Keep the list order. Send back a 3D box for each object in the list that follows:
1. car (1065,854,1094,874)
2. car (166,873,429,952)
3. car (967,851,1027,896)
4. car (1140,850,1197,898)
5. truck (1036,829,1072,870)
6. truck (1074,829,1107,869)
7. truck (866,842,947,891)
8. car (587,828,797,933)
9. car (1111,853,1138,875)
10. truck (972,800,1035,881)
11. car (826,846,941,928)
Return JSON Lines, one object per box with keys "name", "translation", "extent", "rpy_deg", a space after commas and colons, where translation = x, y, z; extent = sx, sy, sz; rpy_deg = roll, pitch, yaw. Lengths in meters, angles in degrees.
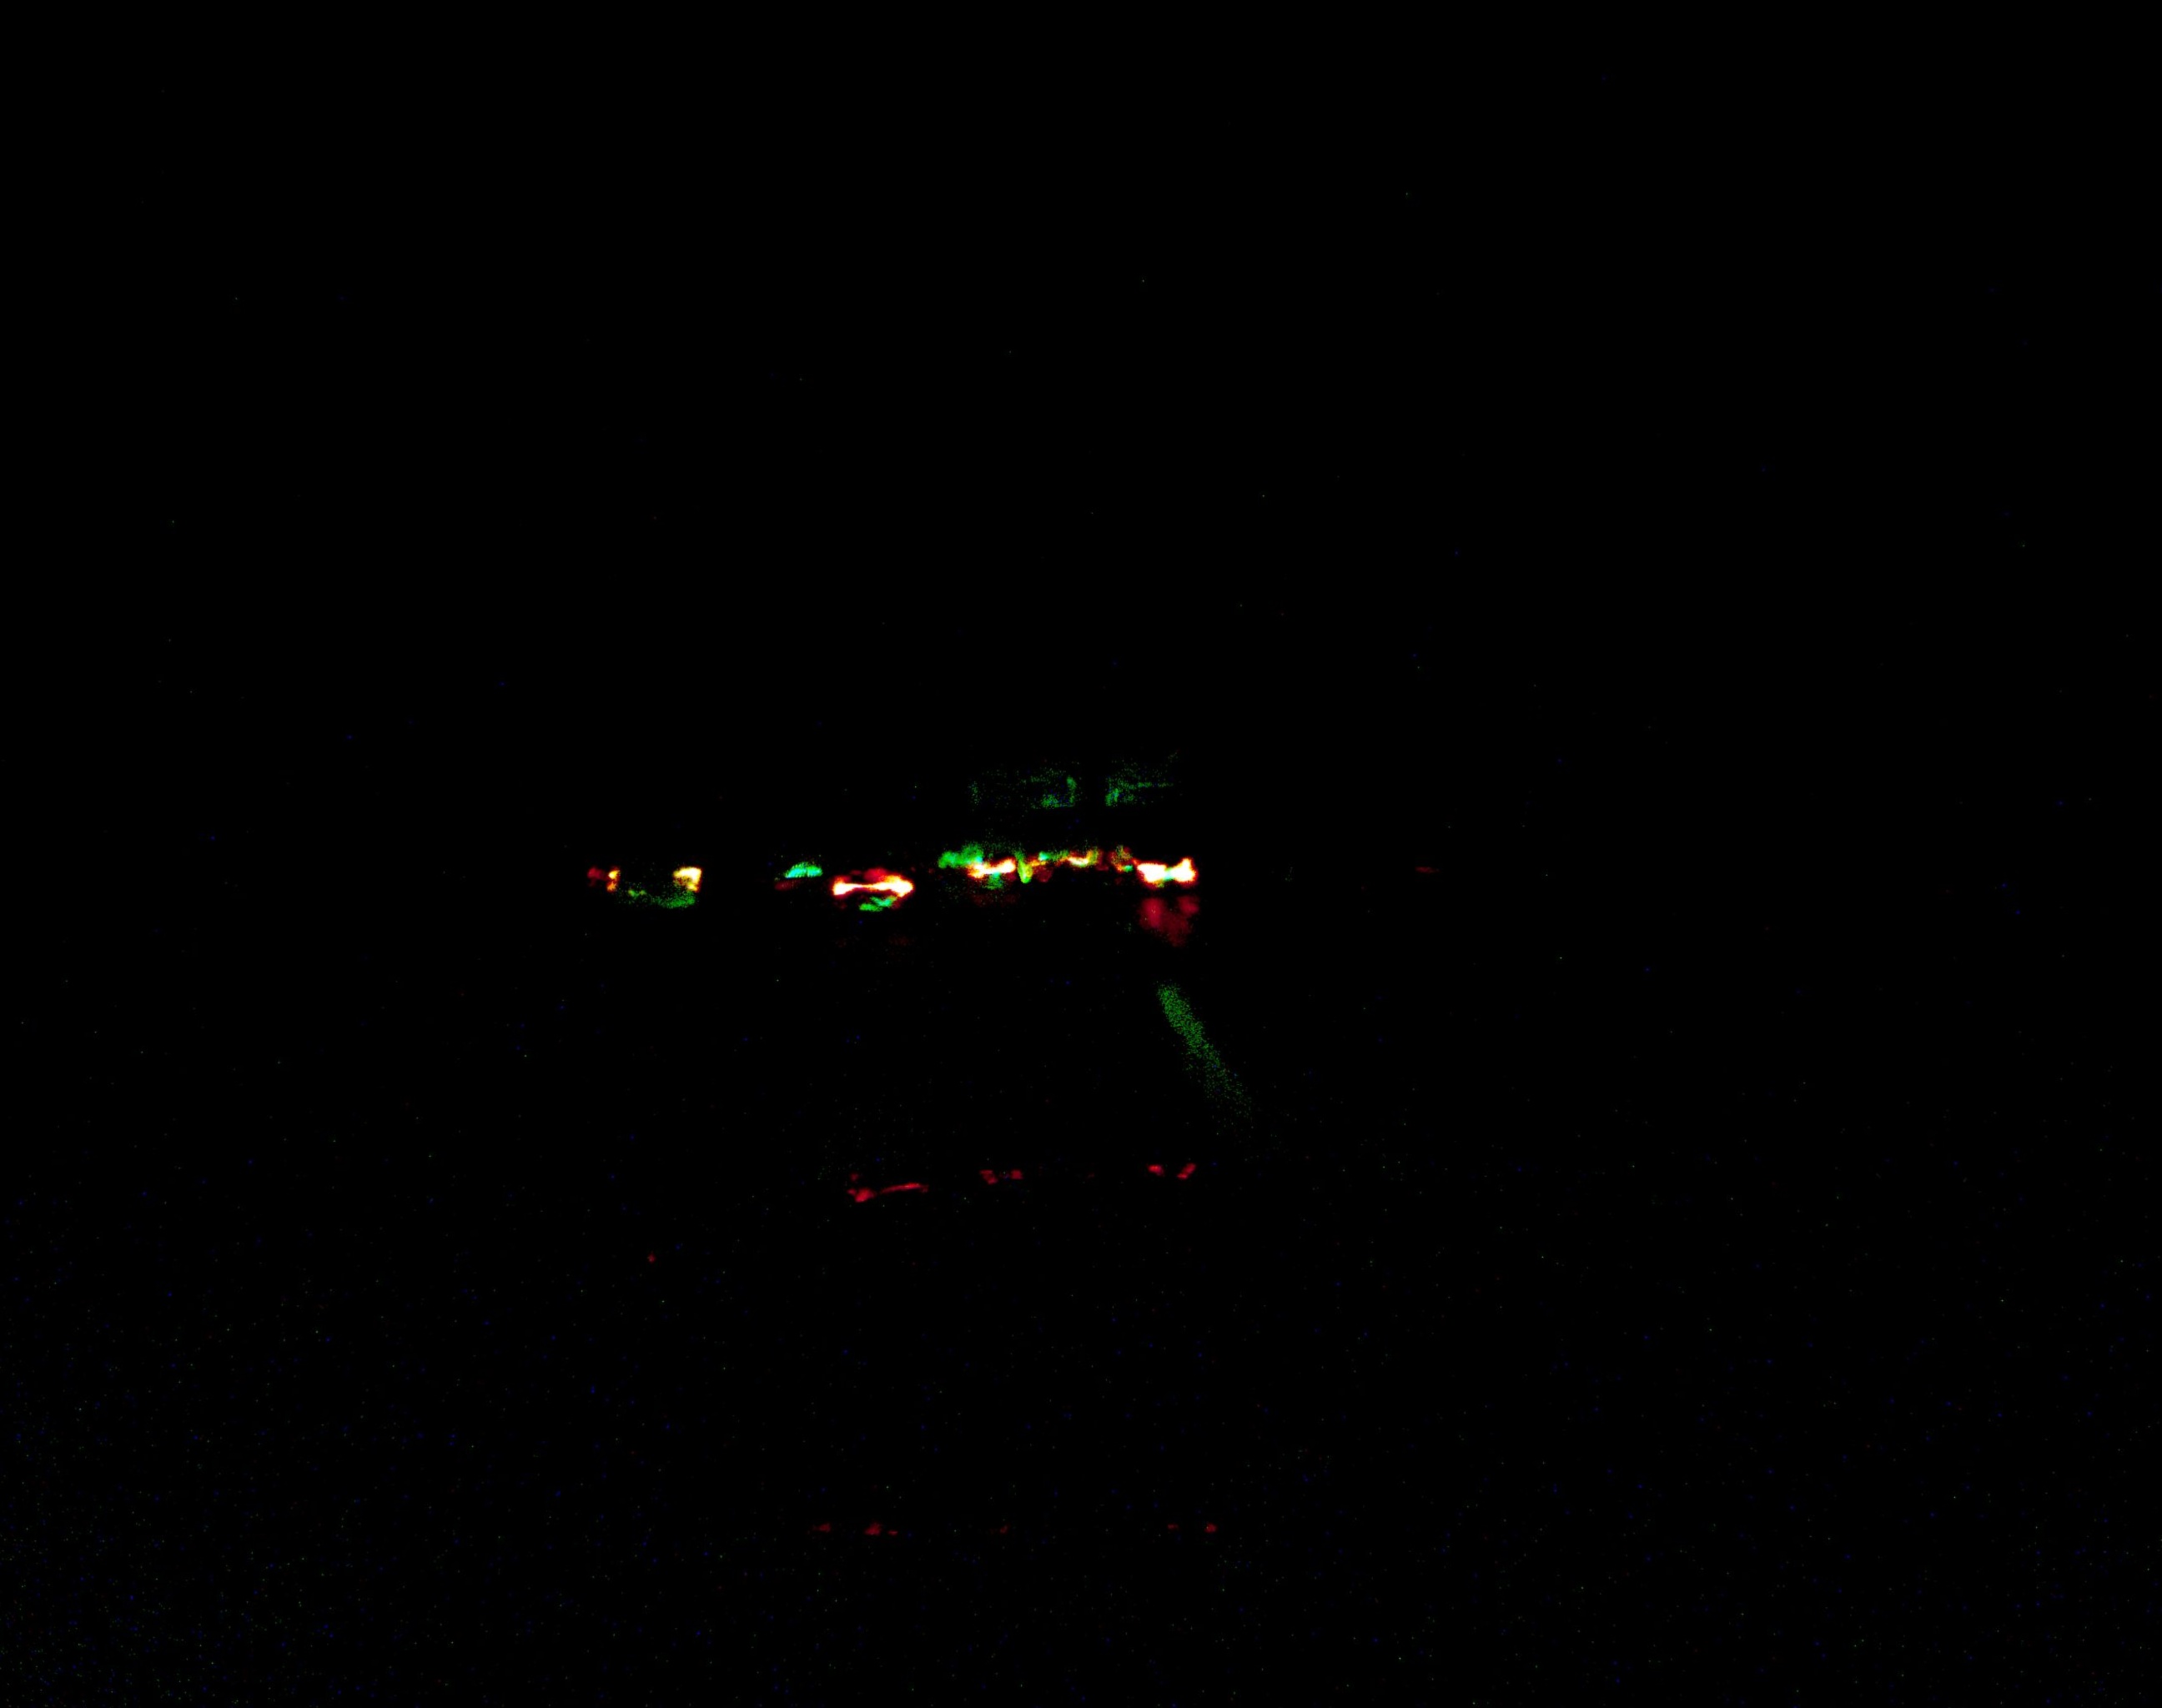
{"name": "car", "translation": [-0.074, 0.992, 84.071], "extent": [2.822, 2.014, 5.511], "rpy_deg": [0, 0, 1]}
{"name": "car", "translation": [-17.537, 1.227, 18.598], "extent": [1.800, 1.517, 4.348], "rpy_deg": [0, 0, 0]}
{"name": "car", "translation": [-3.495, 0.789, 34.734], "extent": [2.032, 1.761, 4.516], "rpy_deg": [0, 0, 1]}
{"name": "car", "translation": [3.344, 0.743, 31.750], "extent": [1.871, 1.762, 4.001], "rpy_deg": [0, 0, 1]}
{"name": "truck", "translation": [-3.721, -0.564, 115.098], "extent": [4.237, 5.444, 10.891], "rpy_deg": [0, 0, 2]}
{"name": "truck", "translation": [1.216, -0.603, 112.188], "extent": [4.150, 5.215, 9.946], "rpy_deg": [0, 0, -2]}
{"name": "truck", "translation": [-8.425, 0.575, 39.954], "extent": [2.849, 2.201, 5.854], "rpy_deg": [0, 0, -2]}
{"name": "car", "translation": [-8.814, 0.531, 19.196], "extent": [2.115, 2.104, 5.631], "rpy_deg": [-1, 0, 1]}
{"name": "car", "translation": [3.503, 0.771, 66.179], "extent": [1.986, 1.704, 4.459], "rpy_deg": [0, 0, 1]}
{"name": "truck", "translation": [-4.801, -0.771, 52.524], "extent": [3.648, 4.737, 9.840], "rpy_deg": [0, 0, -3]}
{"name": "car", "translation": [-4.446, 0.671, 18.919], "extent": [1.761, 1.689, 3.998], "rpy_deg": [-1, 0, -1]}
